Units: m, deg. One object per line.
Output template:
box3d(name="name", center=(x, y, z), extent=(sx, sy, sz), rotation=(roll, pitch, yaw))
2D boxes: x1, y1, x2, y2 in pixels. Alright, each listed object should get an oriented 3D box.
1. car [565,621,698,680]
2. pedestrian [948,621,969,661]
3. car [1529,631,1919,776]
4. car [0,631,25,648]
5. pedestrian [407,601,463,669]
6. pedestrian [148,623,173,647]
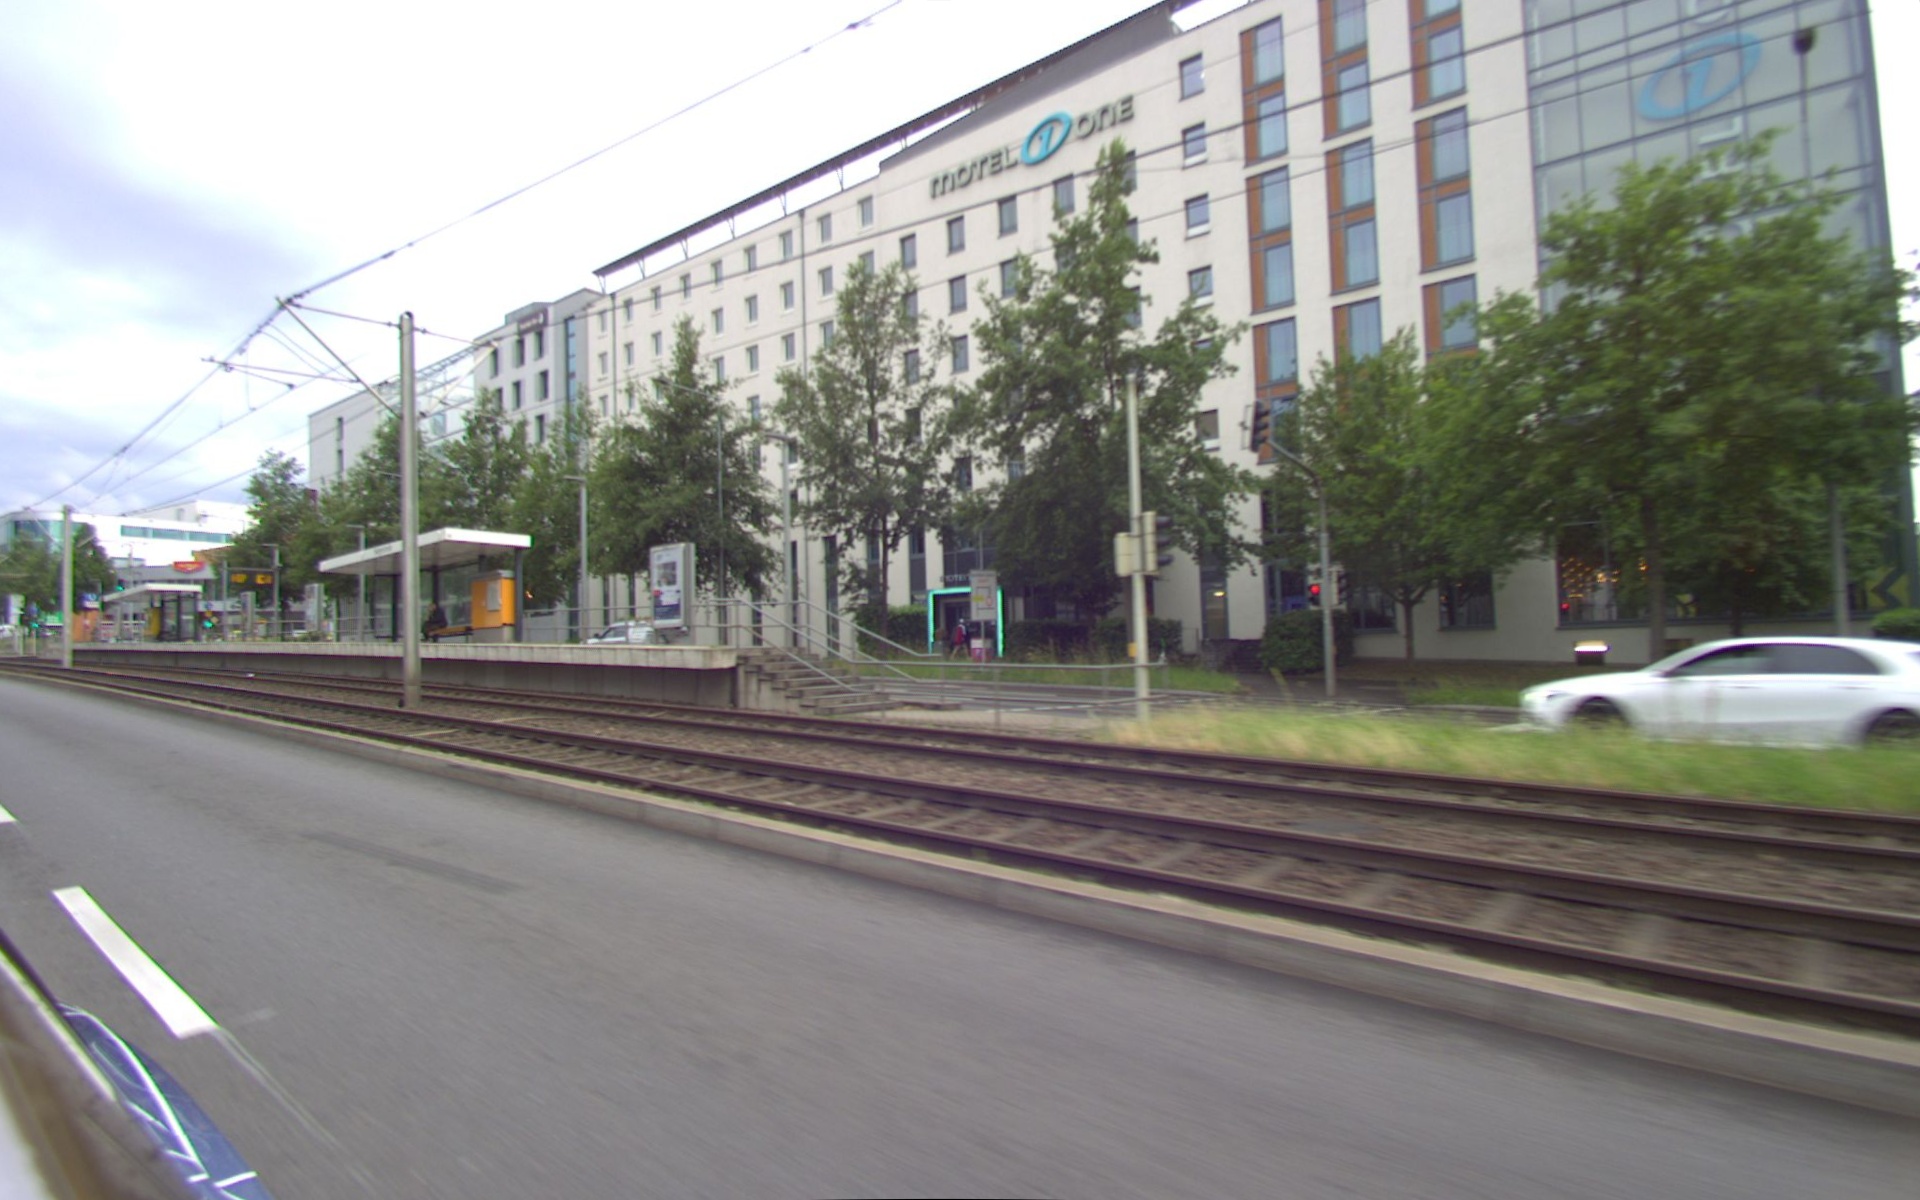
box3d(name="car", center=(-11.236, 1.693, 34.436), extent=(4.998, 1.861, 1.973), rotation=(-2, -4, 40))
box3d(name="pedestrian", center=(-0.068, 1.648, 41.059), extent=(0.824, 1.589, 0.602), rotation=(-1, 0, 1))
box3d(name="car", center=(9.314, 1.120, 11.762), extent=(4.426, 1.455, 1.818), rotation=(-2, -4, 41))
box3d(name="car", center=(-156.891, 6.456, 165.564), extent=(2.261, 2.649, 5.449), rotation=(-1, 0, 19))
box3d(name="pedestrian", center=(-16.240, 1.065, 31.305), extent=(1.269, 2.029, 1.115), rotation=(-1, 0, 40))
box3d(name="pedestrian", center=(-43.736, 1.933, 55.368), extent=(0.683, 1.310, 0.952), rotation=(-2, -3, 38))
